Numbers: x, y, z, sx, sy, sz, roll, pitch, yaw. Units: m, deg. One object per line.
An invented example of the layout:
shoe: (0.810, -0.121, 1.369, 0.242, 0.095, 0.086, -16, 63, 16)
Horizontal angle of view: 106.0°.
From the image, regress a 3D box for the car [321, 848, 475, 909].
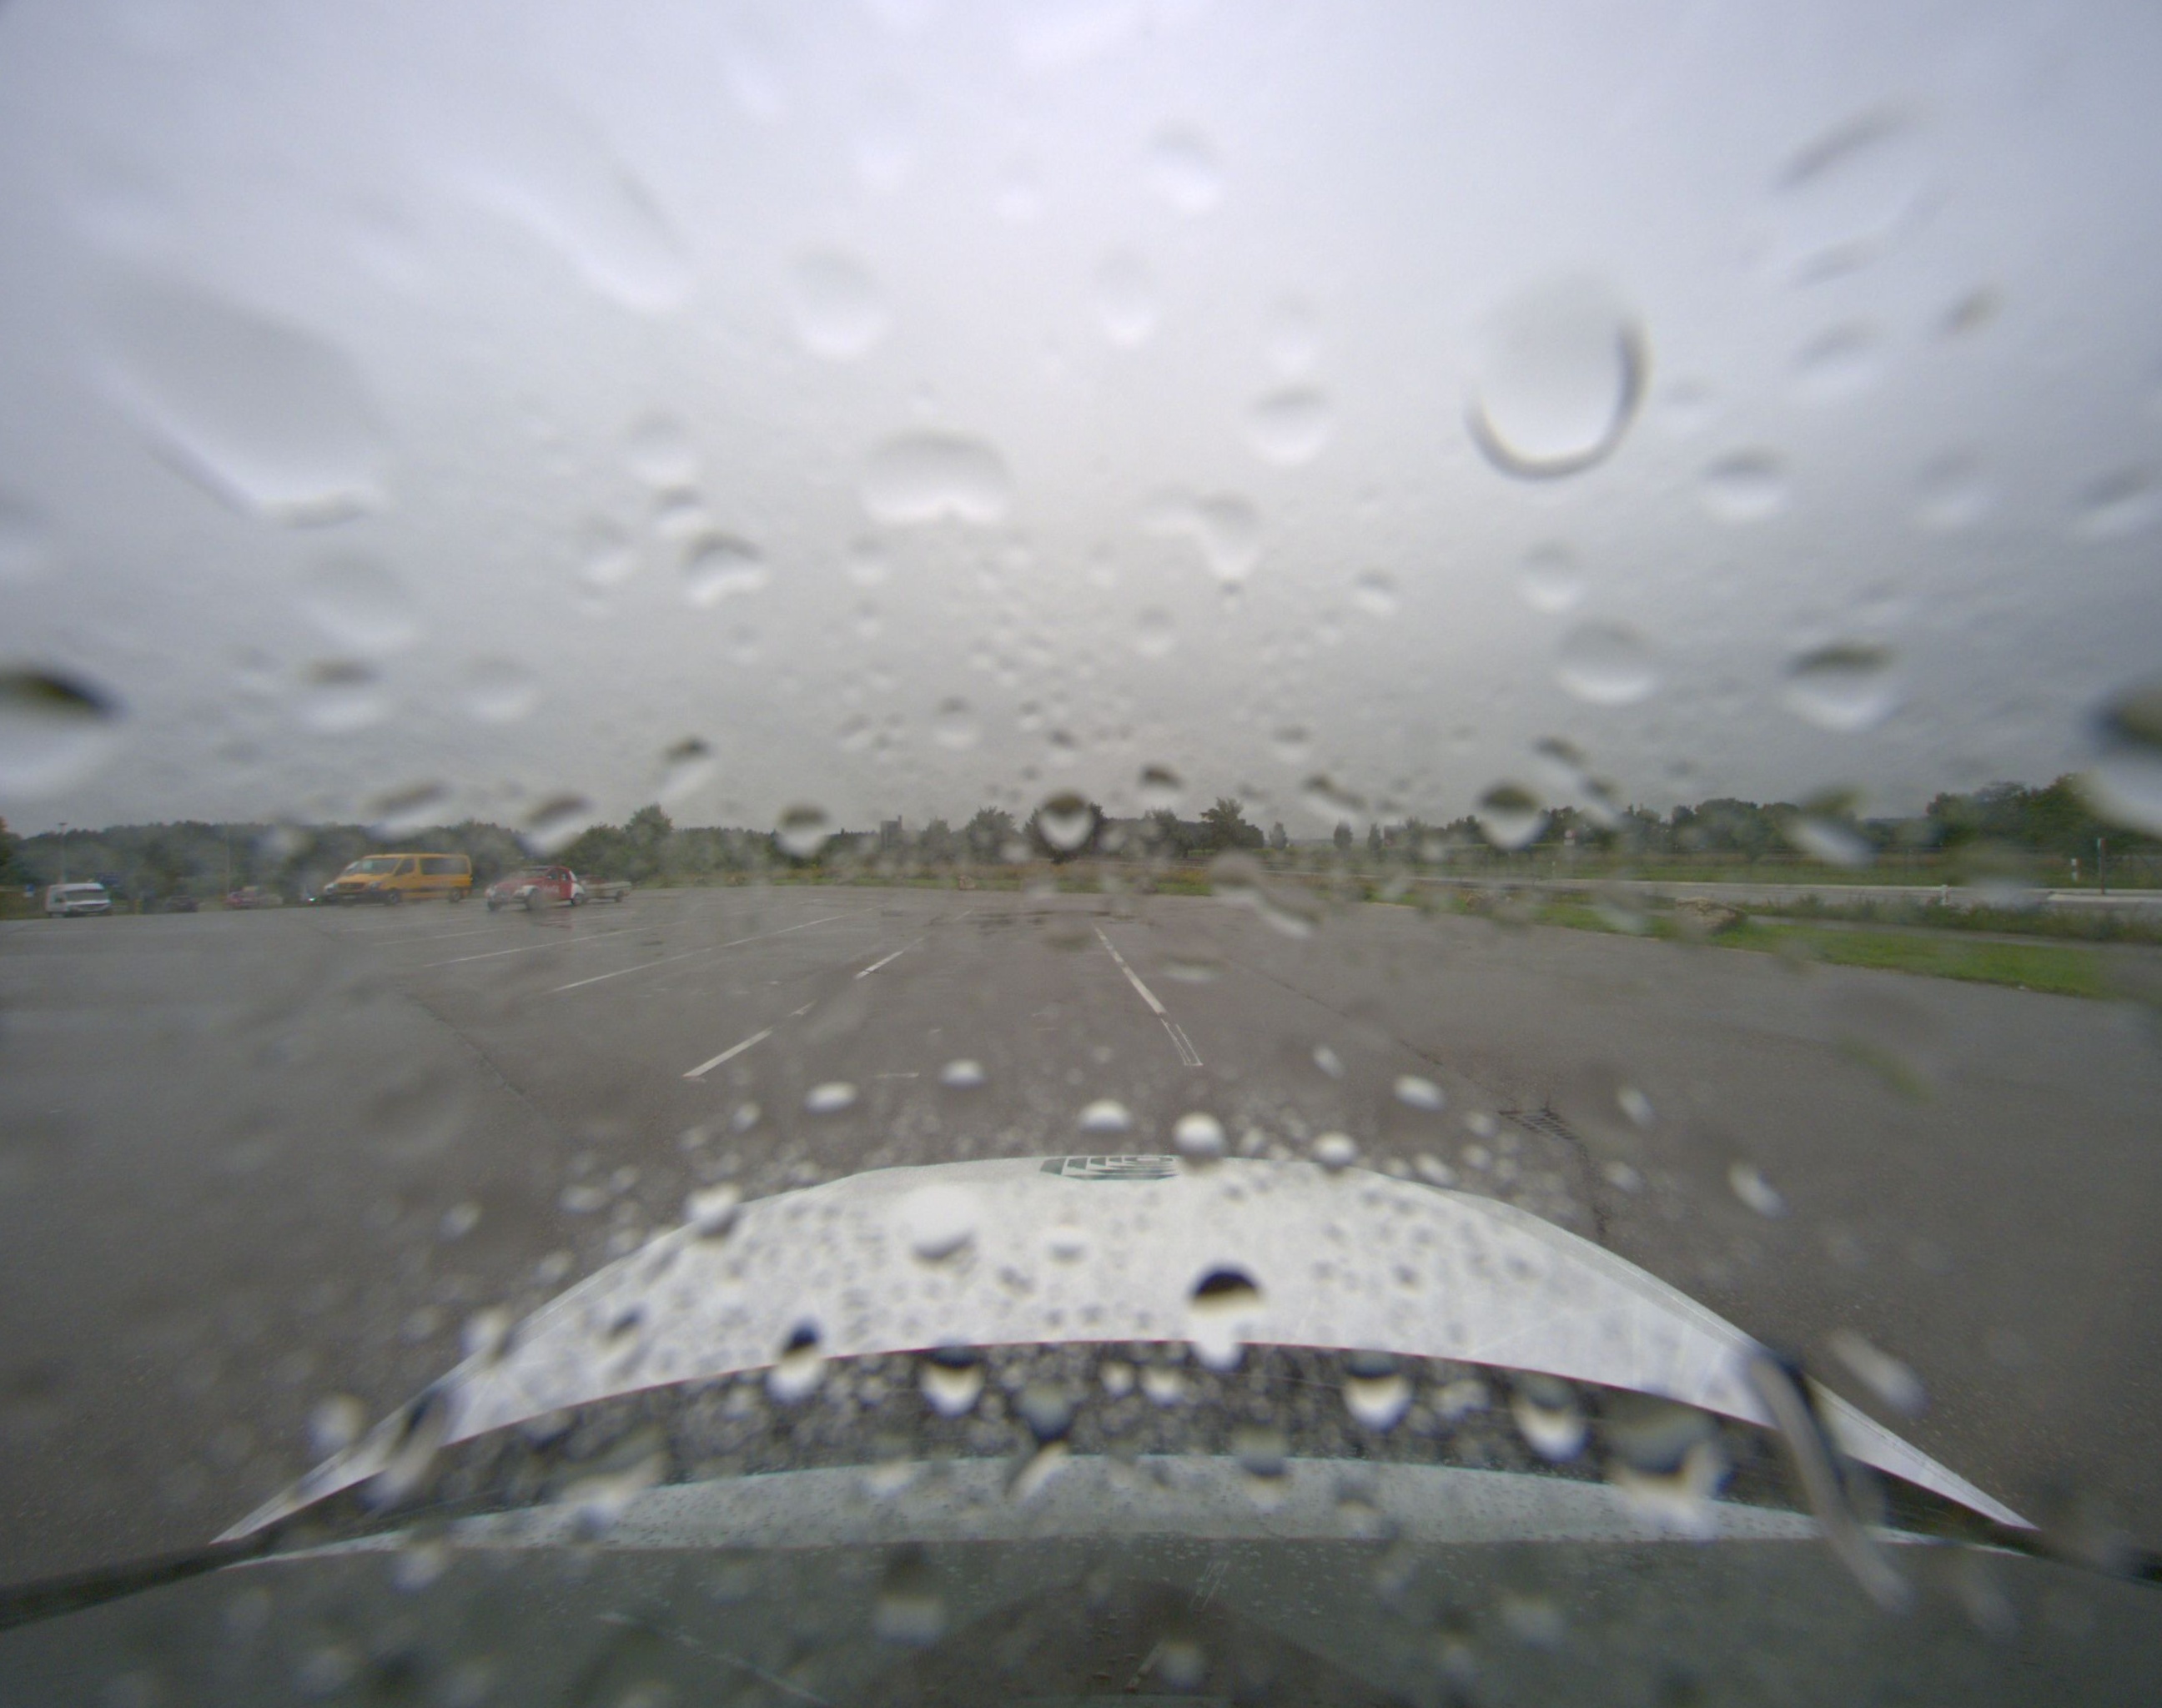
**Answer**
car: (-30.241, 1.028, 36.388, 1.990, 2.380, 6.017, -3, -1, -4)

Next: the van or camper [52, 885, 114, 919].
van or camper: (-68.248, 3.305, 55.690, 3.949, 2.166, 2.012, -2, -1, 29)

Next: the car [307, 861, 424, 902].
car: (-41.269, 1.534, 47.153, 1.980, 2.201, 4.790, 0, 0, 13)

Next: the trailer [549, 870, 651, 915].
trailer: (-19.214, 1.494, 32.747, 1.690, 1.532, 3.999, -2, 0, -1)

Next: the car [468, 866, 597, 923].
car: (-19.197, 1.369, 28.748, 1.816, 1.777, 3.999, -2, -1, 0)

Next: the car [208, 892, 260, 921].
car: (-64.689, 3.990, 62.179, 3.949, 2.013, 1.697, -3, 0, 29)
